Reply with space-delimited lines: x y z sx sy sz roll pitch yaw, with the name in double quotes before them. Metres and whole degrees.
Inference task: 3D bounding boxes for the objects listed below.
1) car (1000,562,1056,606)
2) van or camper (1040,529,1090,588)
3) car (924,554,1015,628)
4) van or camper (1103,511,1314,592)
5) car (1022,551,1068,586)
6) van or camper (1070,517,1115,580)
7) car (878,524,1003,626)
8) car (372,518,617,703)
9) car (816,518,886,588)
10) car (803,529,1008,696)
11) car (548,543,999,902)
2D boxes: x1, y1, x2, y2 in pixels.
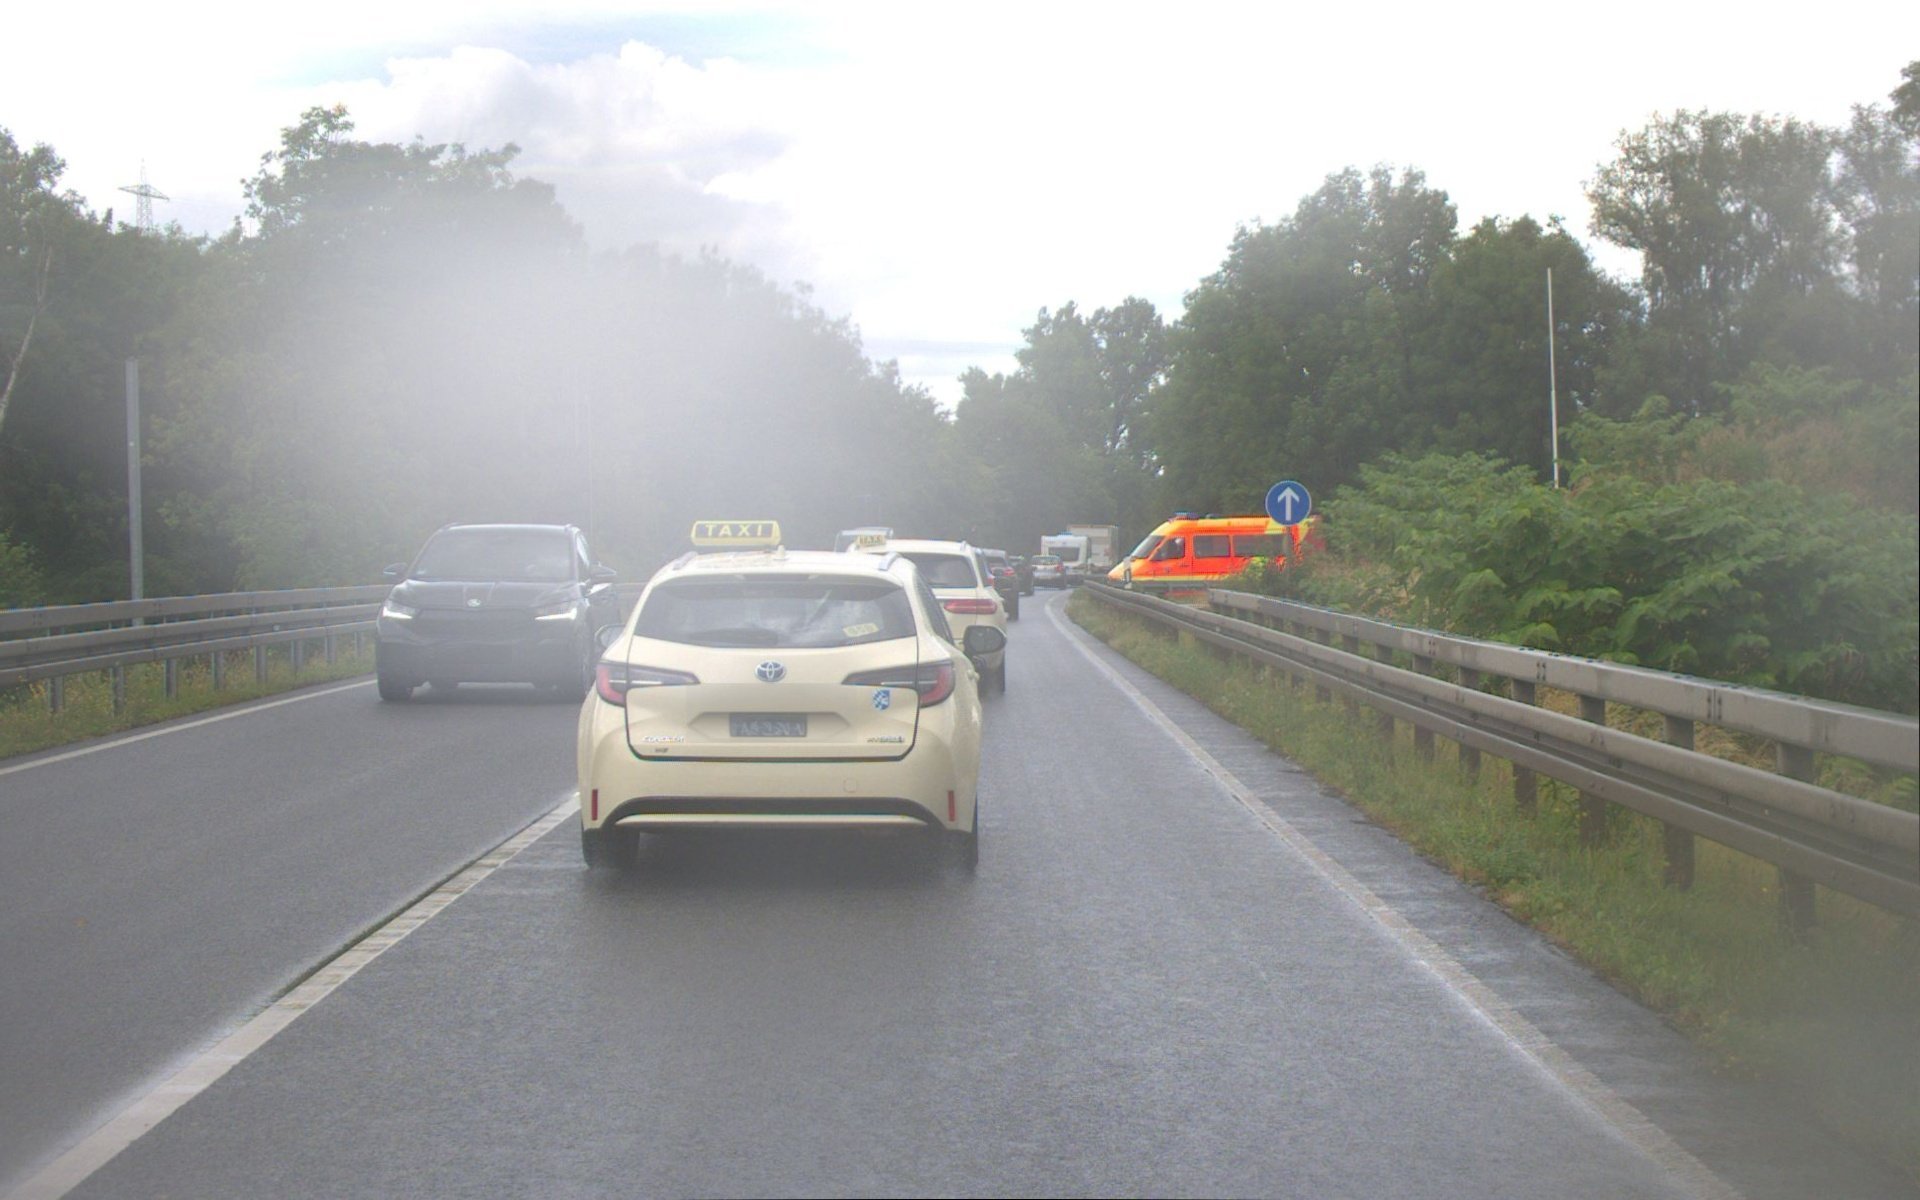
"car" 2.456 -0.582 122.740 1.854 1.438 4.171 1 2 3
"van or camper" 5.216 -2.106 172.138 2.332 2.854 6.307 1 2 1
"car" 0.170 -0.214 73.742 1.854 1.438 4.171 1 2 -1
"van or camper" 7.152 -1.406 98.904 5.676 2.234 2.021 0 1 -15
"car" 3.719 -1.386 149.818 1.854 1.438 4.171 1 2 3
"van or camper" 7.664 -3.013 199.236 2.332 3.550 6.307 1 2 1
"car" -0.321 -0.420 53.478 1.854 1.438 4.171 1 2 -1
"car" -4.228 0.040 31.820 1.779 1.556 4.302 1 2 -2
"car" -3.417 -1.497 108.763 1.993 2.121 4.895 1 2 0
"car" -0.531 0.072 33.589 1.854 1.438 4.171 1 2 -1
"car" -0.809 0.476 16.358 1.854 1.389 4.171 1 2 -1
